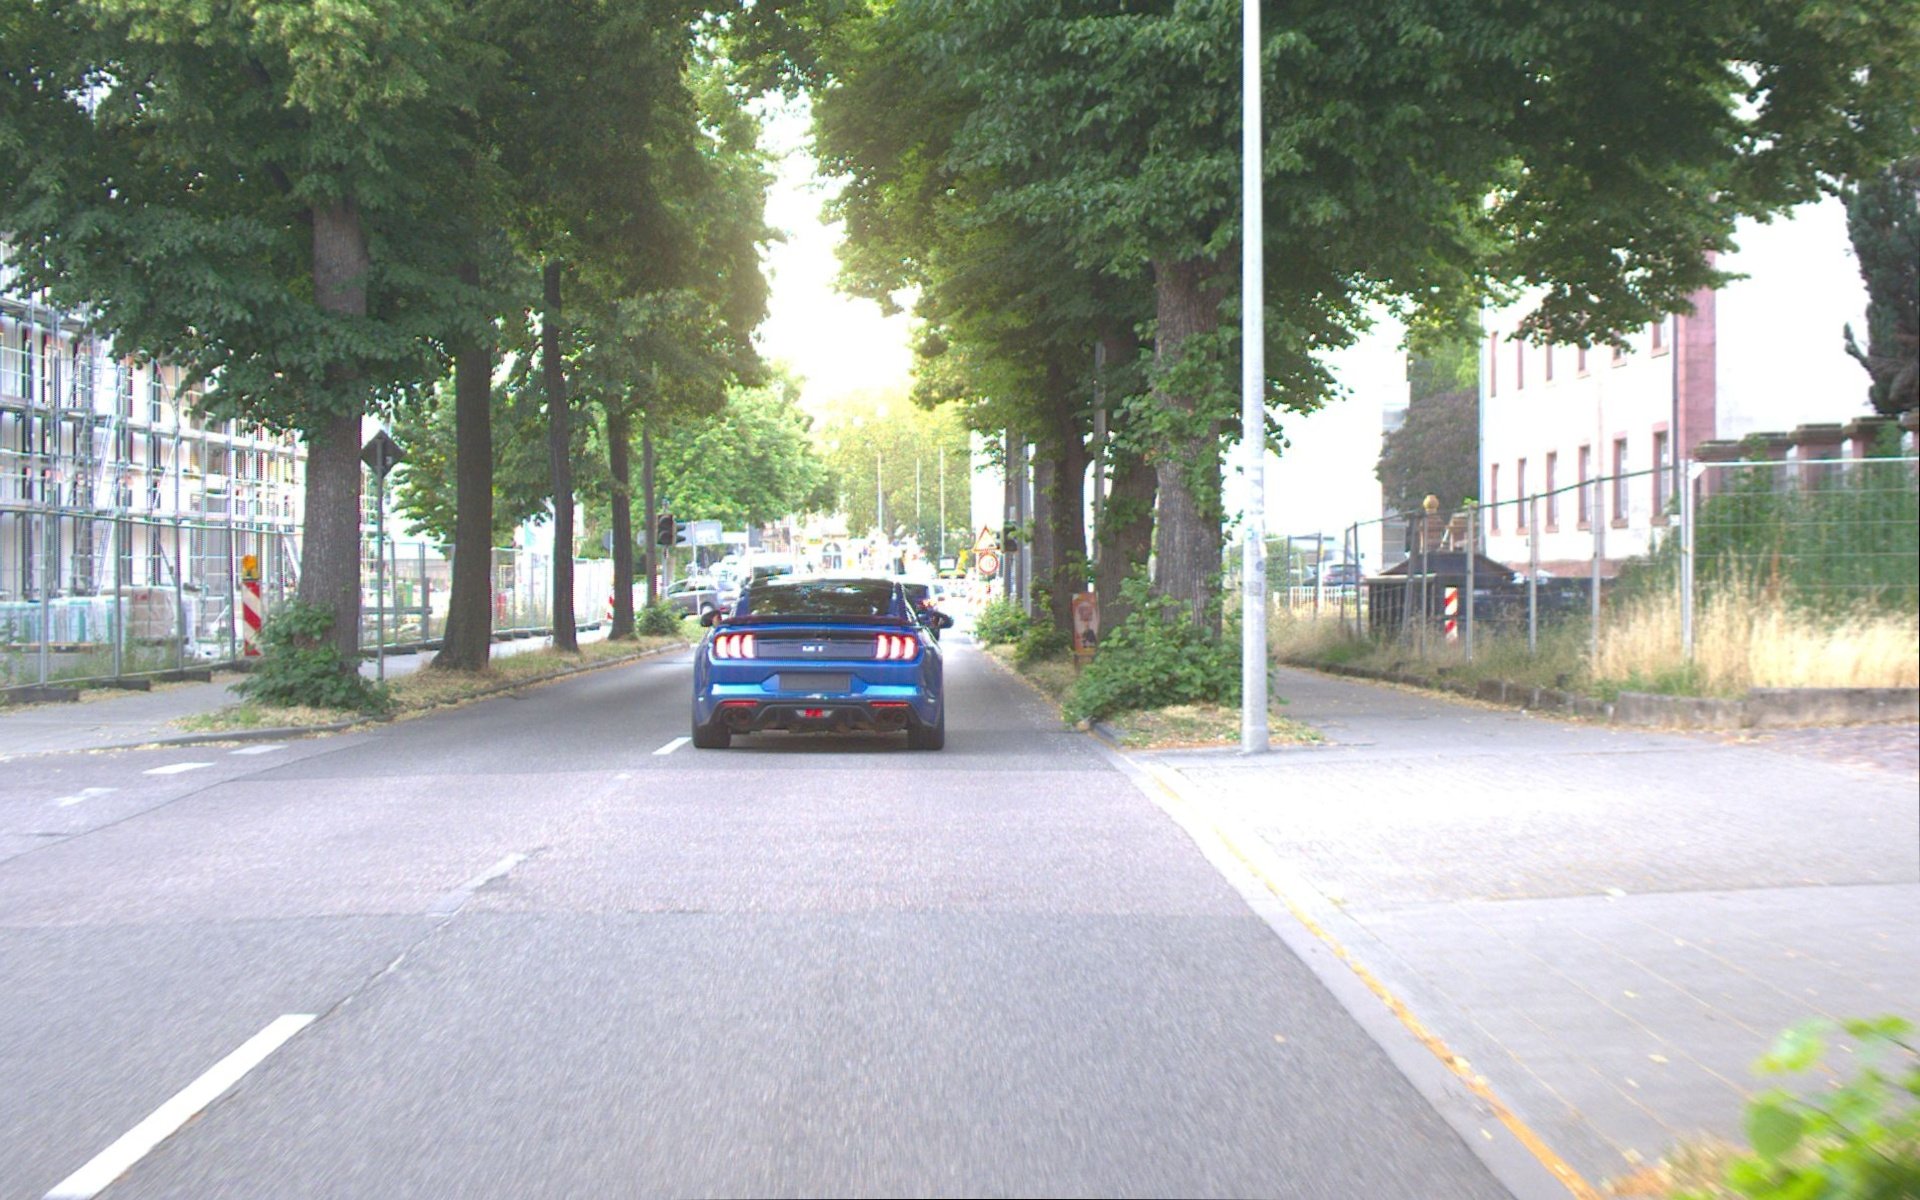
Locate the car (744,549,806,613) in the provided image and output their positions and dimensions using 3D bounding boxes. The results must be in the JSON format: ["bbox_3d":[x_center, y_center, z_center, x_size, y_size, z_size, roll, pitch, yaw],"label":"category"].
[{"bbox_3d":[-8.005,-0.834,149.077,2.492,2.687,5.831,0,1,-1],"label":"car"}]

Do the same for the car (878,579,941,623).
[{"bbox_3d":[-1.621,0.007,110.570,1.947,1.322,4.000,2,1,-1],"label":"car"}]

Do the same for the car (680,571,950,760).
[{"bbox_3d":[-1.092,0.467,27.209,1.947,1.322,4.000,2,1,-1],"label":"car"}]

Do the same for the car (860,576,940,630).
[{"bbox_3d":[-1.564,0.066,91.054,1.947,1.322,4.000,2,1,1],"label":"car"}]

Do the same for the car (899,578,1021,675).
[{"bbox_3d":[0.037,0.425,58.536,1.947,1.522,4.000,2,1,1],"label":"car"}]

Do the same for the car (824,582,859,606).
[{"bbox_3d":[-6.927,-0.355,201.047,1.947,1.322,4.000,2,1,-1],"label":"car"}]

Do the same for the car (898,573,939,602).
[{"bbox_3d":[-2.027,-0.599,166.745,1.947,1.322,4.000,2,1,-1],"label":"car"}]

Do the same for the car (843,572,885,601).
[{"bbox_3d":[-4.617,-0.661,166.143,1.947,1.322,4.000,2,1,-1],"label":"car"}]
